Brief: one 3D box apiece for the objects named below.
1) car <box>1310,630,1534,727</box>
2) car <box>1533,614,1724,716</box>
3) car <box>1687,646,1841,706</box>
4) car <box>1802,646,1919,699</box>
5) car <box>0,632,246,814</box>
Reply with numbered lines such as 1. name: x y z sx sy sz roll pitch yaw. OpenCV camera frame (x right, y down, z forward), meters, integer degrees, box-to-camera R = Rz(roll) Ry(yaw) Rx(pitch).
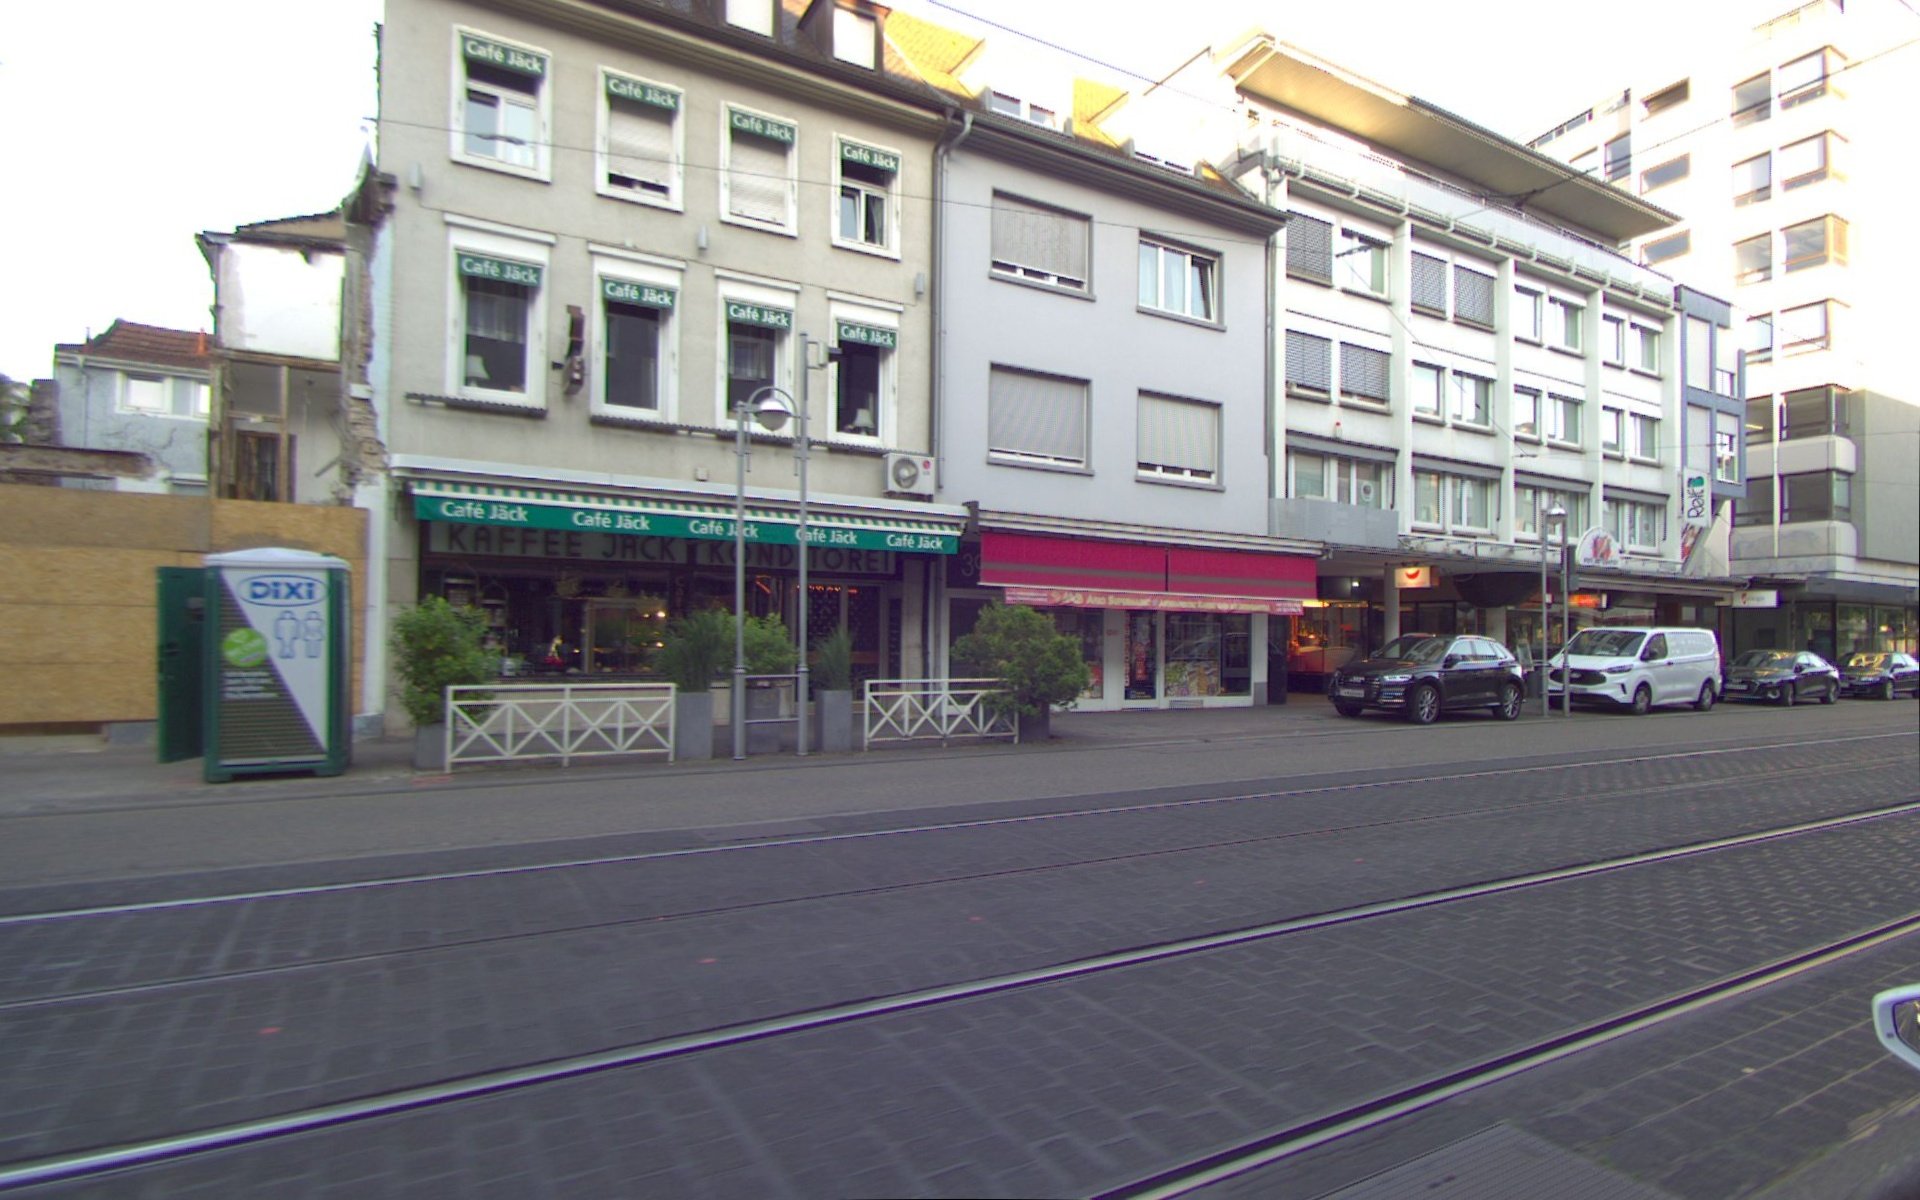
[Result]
1. car: 9.225 1.496 19.968 4.411 1.700 1.851 2 -1 -30
2. car: 15.915 1.493 23.843 4.856 2.185 1.983 2 -2 -32
3. car: 22.077 2.040 27.545 4.196 1.454 1.920 2 -1 -30
4. car: 27.979 2.202 30.875 4.196 1.454 1.920 2 -1 -30
5. car: -9.070 1.030 8.839 4.277 1.472 1.985 2 -2 -29
